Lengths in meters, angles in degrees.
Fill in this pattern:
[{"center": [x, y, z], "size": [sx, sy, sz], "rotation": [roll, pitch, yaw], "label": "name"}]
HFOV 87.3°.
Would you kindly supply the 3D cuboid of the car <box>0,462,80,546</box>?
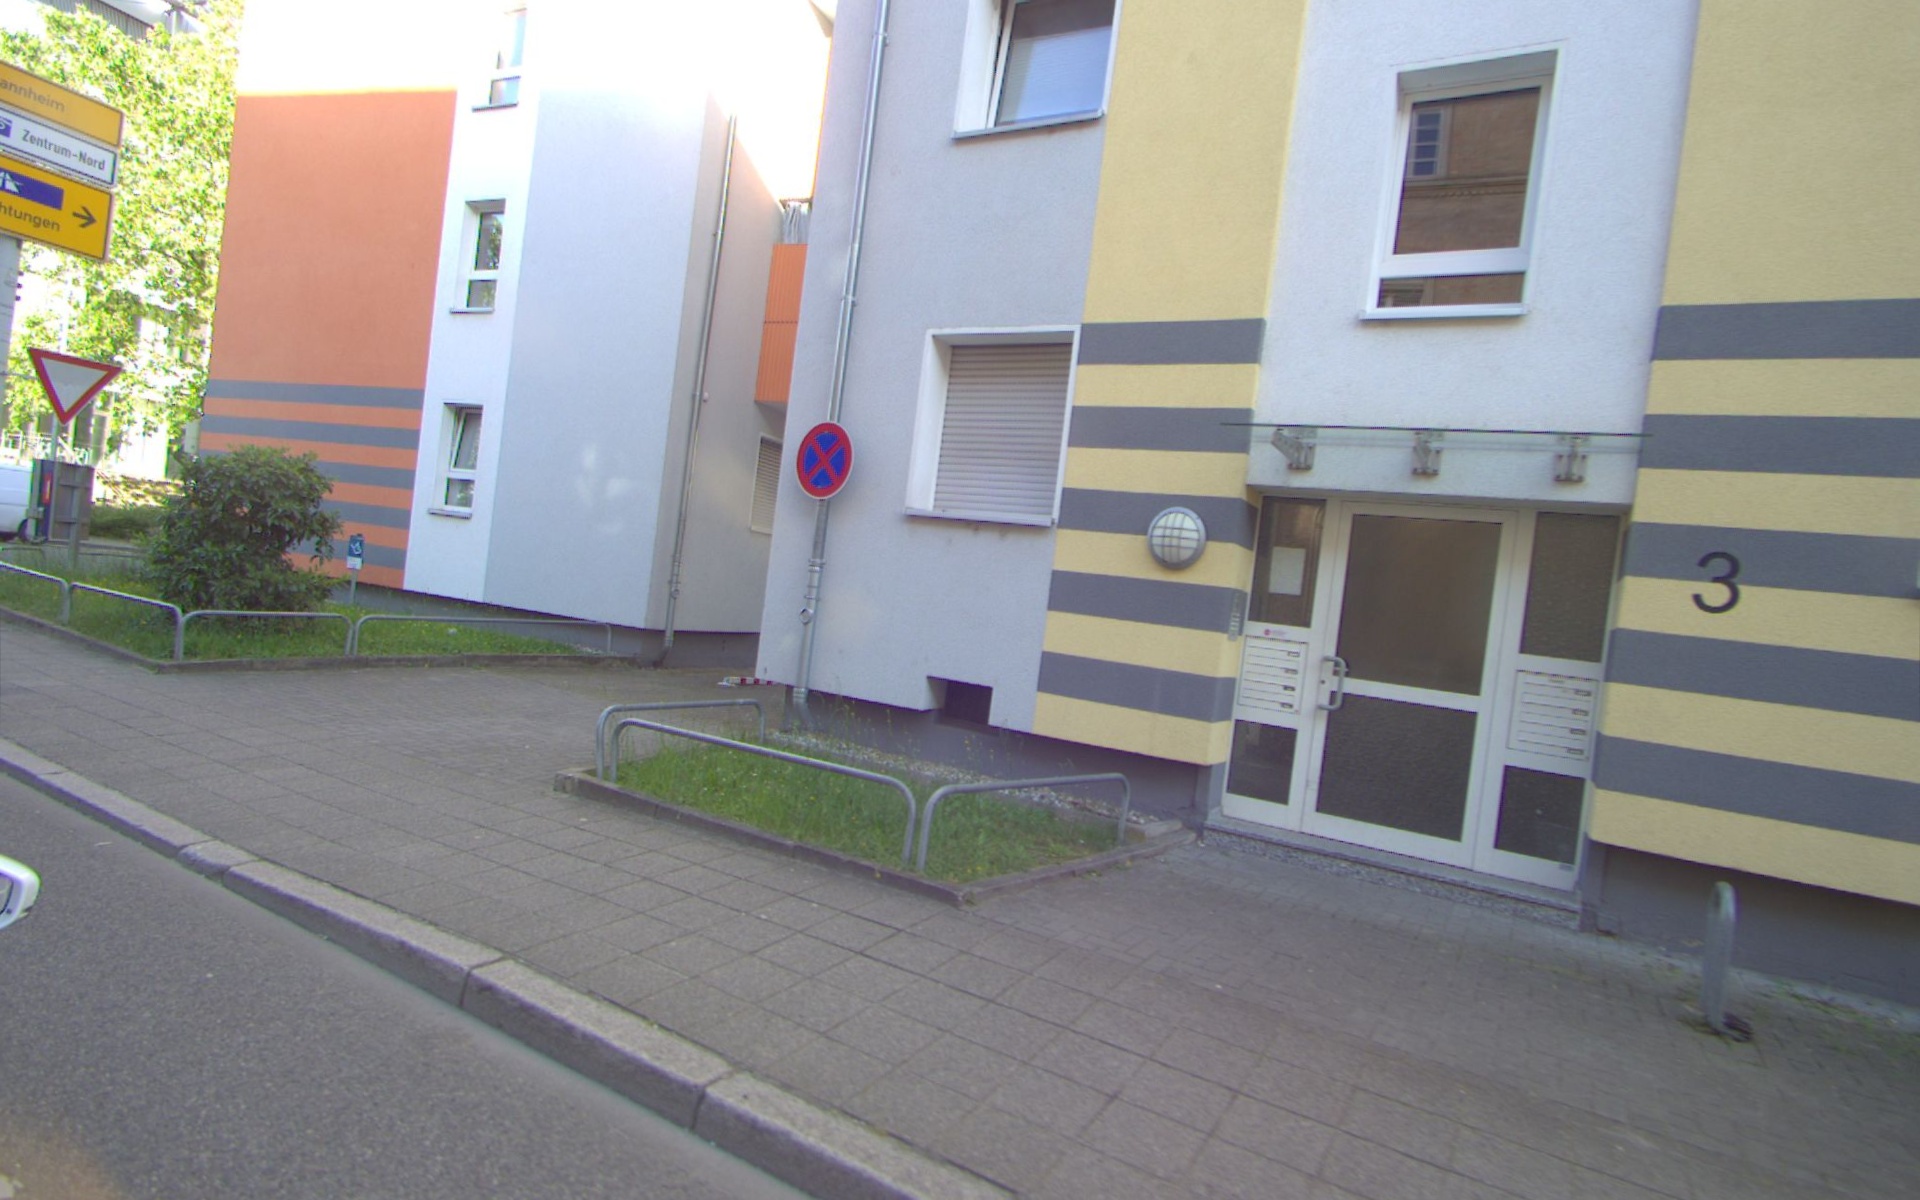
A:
[{"center": [-23.443, -2.422, 23.094], "size": [1.607, 1.822, 4.550], "rotation": [8, 1, 25], "label": "car"}]
